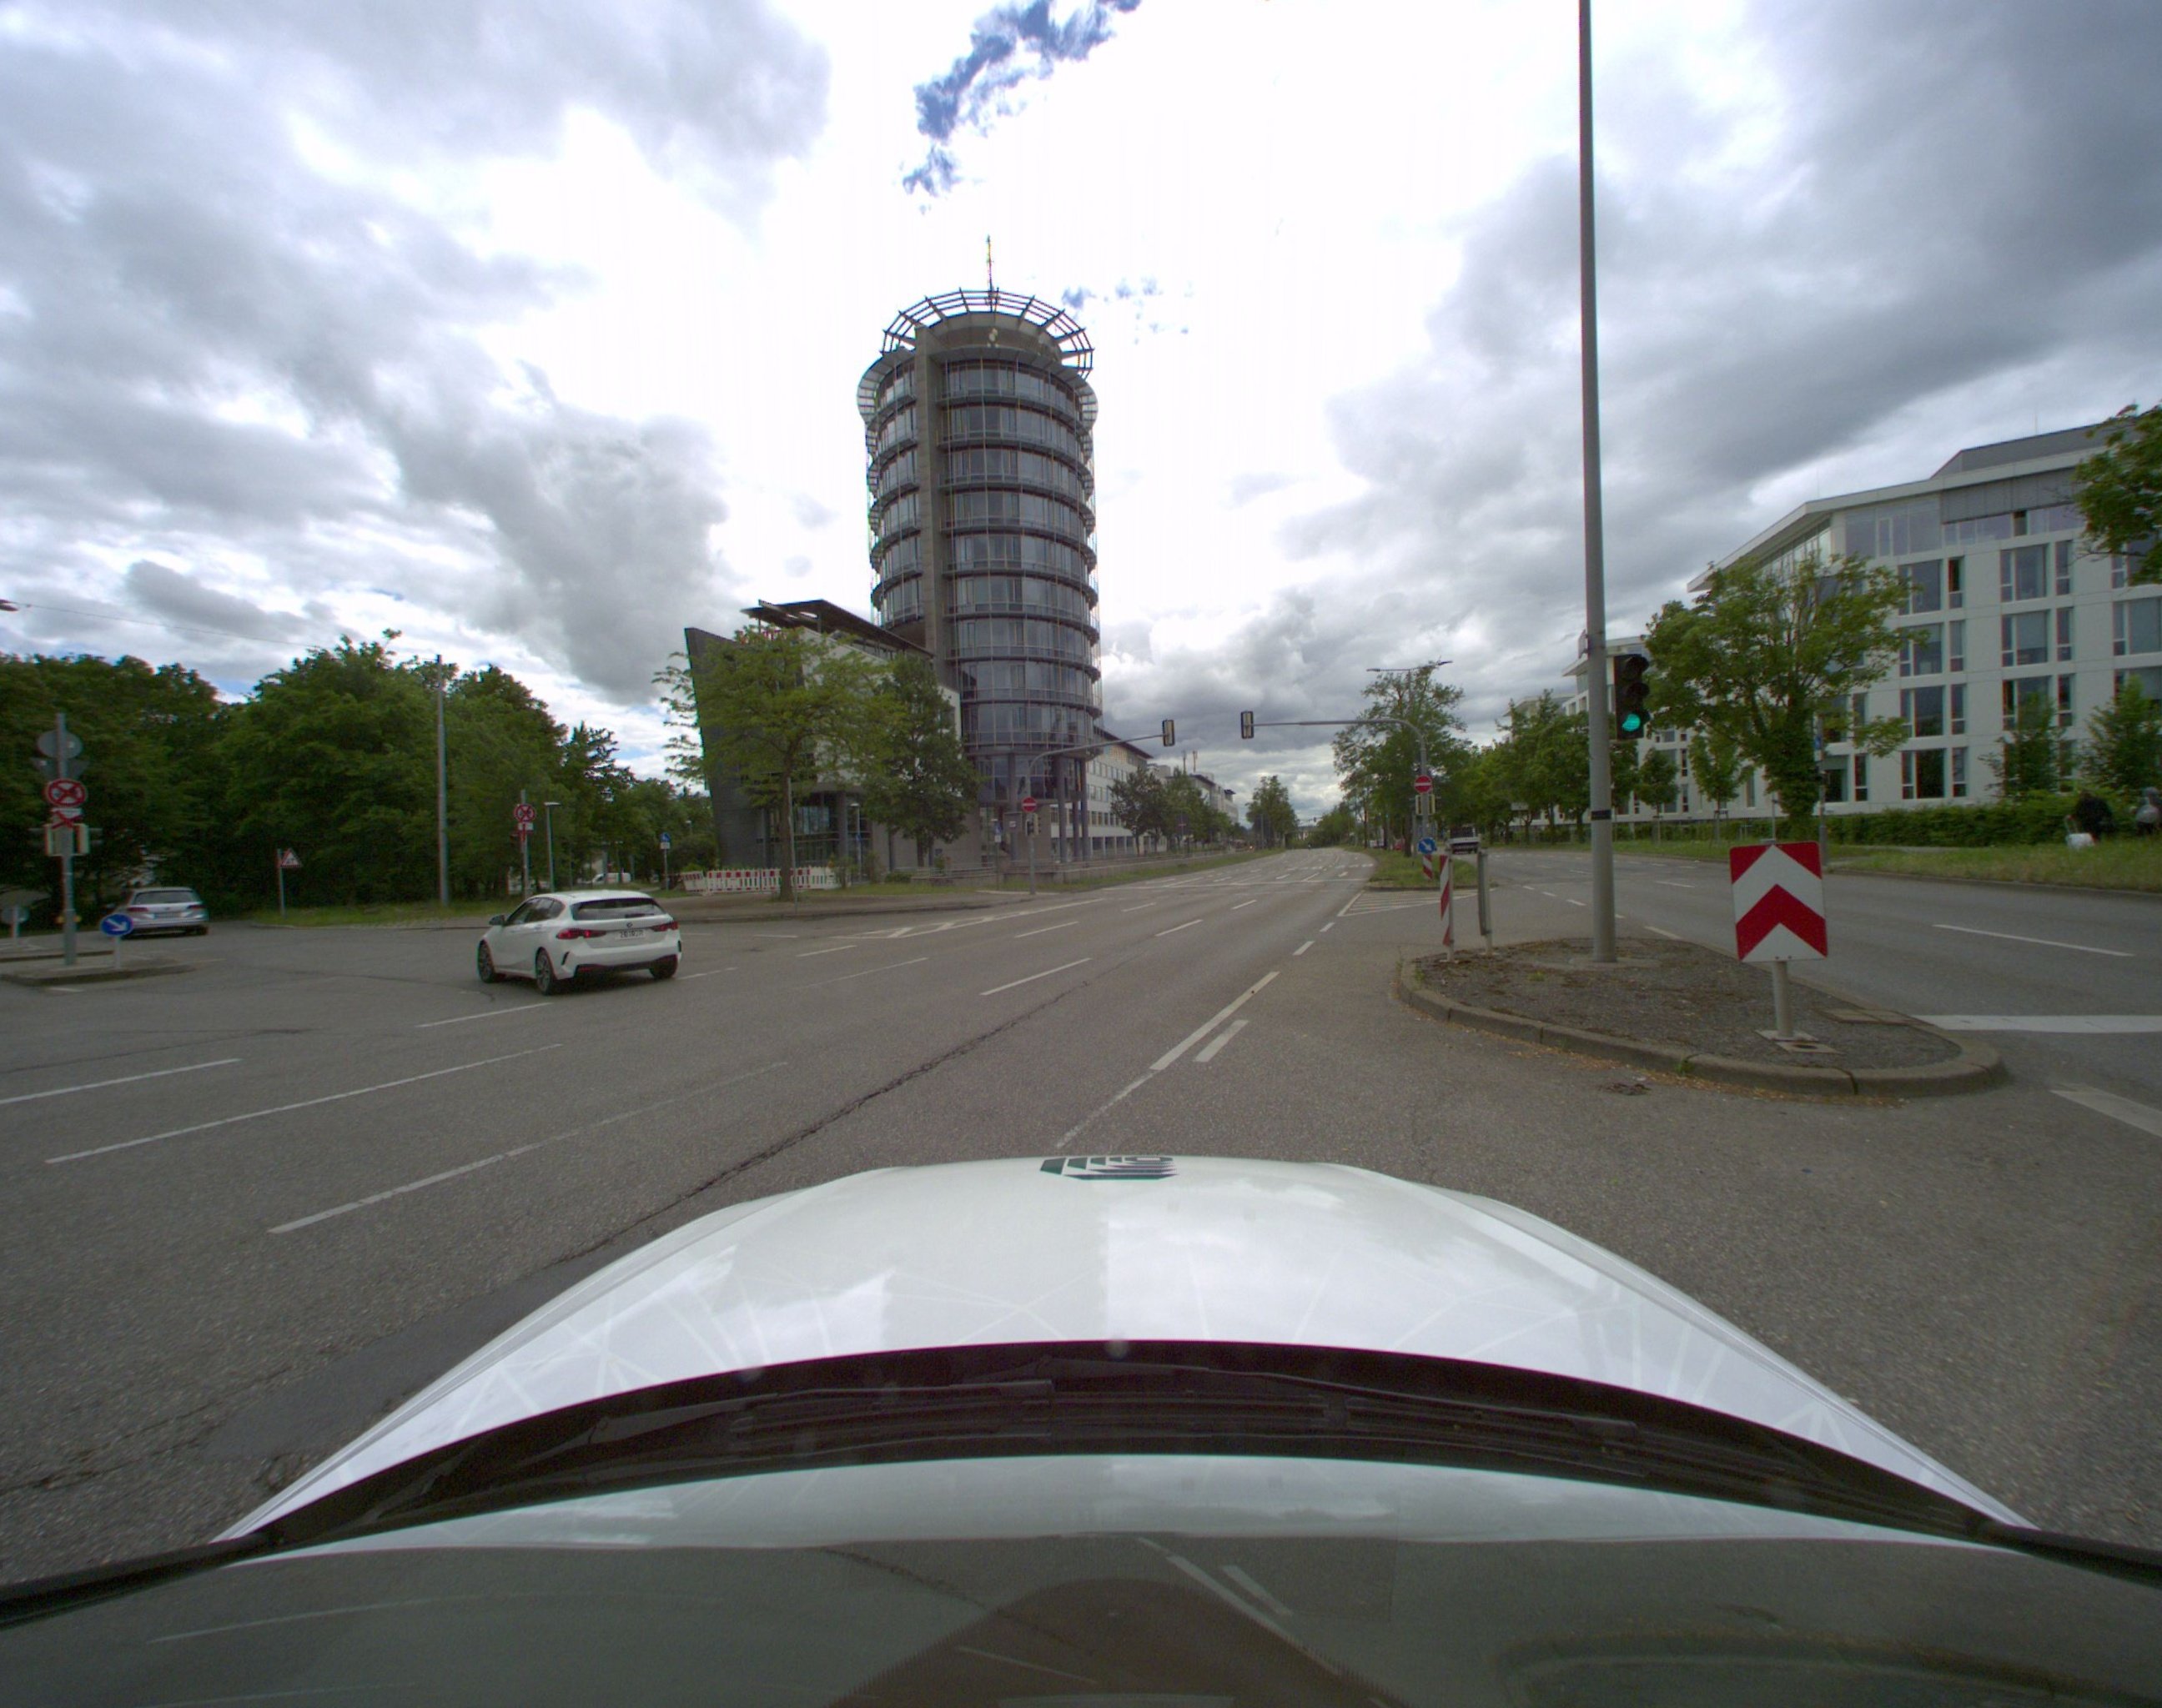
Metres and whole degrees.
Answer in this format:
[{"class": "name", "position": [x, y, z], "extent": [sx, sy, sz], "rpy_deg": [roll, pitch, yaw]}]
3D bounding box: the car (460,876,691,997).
[{"class": "car", "position": [-8.151, 1.237, 13.001], "extent": [4.152, 1.517, 1.813], "rpy_deg": [-4, 0, 39]}]

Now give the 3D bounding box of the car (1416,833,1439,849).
[{"class": "car", "position": [39.620, -1.494, 93.263], "extent": [1.857, 1.674, 3.901], "rpy_deg": [-1, -1, 14]}]

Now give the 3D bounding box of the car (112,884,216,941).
[{"class": "car", "position": [-29.481, 1.853, 26.152], "extent": [3.948, 1.574, 1.942], "rpy_deg": [-3, 0, 38]}]

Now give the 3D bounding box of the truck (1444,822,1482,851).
[{"class": "truck", "position": [33.092, -1.474, 70.604], "extent": [2.534, 2.376, 4.611], "rpy_deg": [-1, -1, 20]}]

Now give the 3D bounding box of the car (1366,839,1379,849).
[{"class": "car", "position": [48.302, -1.605, 134.944], "extent": [1.977, 1.651, 4.019], "rpy_deg": [-1, -1, 19]}]

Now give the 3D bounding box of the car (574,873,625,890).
[{"class": "car", "position": [-79.810, 4.508, 135.052], "extent": [2.058, 2.522, 7.025], "rpy_deg": [-1, 0, 38]}]

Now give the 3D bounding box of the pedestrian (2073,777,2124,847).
[{"class": "pedestrian", "position": [24.757, -0.994, 19.807], "extent": [1.039, 1.626, 0.725], "rpy_deg": [0, -1, -37]}]

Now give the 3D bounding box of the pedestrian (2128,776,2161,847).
[{"class": "pedestrian", "position": [25.307, -0.997, 19.290], "extent": [0.712, 1.626, 0.559], "rpy_deg": [0, -1, -40]}]

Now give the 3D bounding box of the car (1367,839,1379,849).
[{"class": "car", "position": [53.137, -1.768, 148.069], "extent": [1.977, 1.651, 4.019], "rpy_deg": [-1, -1, 19]}]

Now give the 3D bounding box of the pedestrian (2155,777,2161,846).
[{"class": "pedestrian", "position": [26.014, -1.020, 19.160], "extent": [0.660, 1.626, 0.685], "rpy_deg": [0, -1, -14]}]
